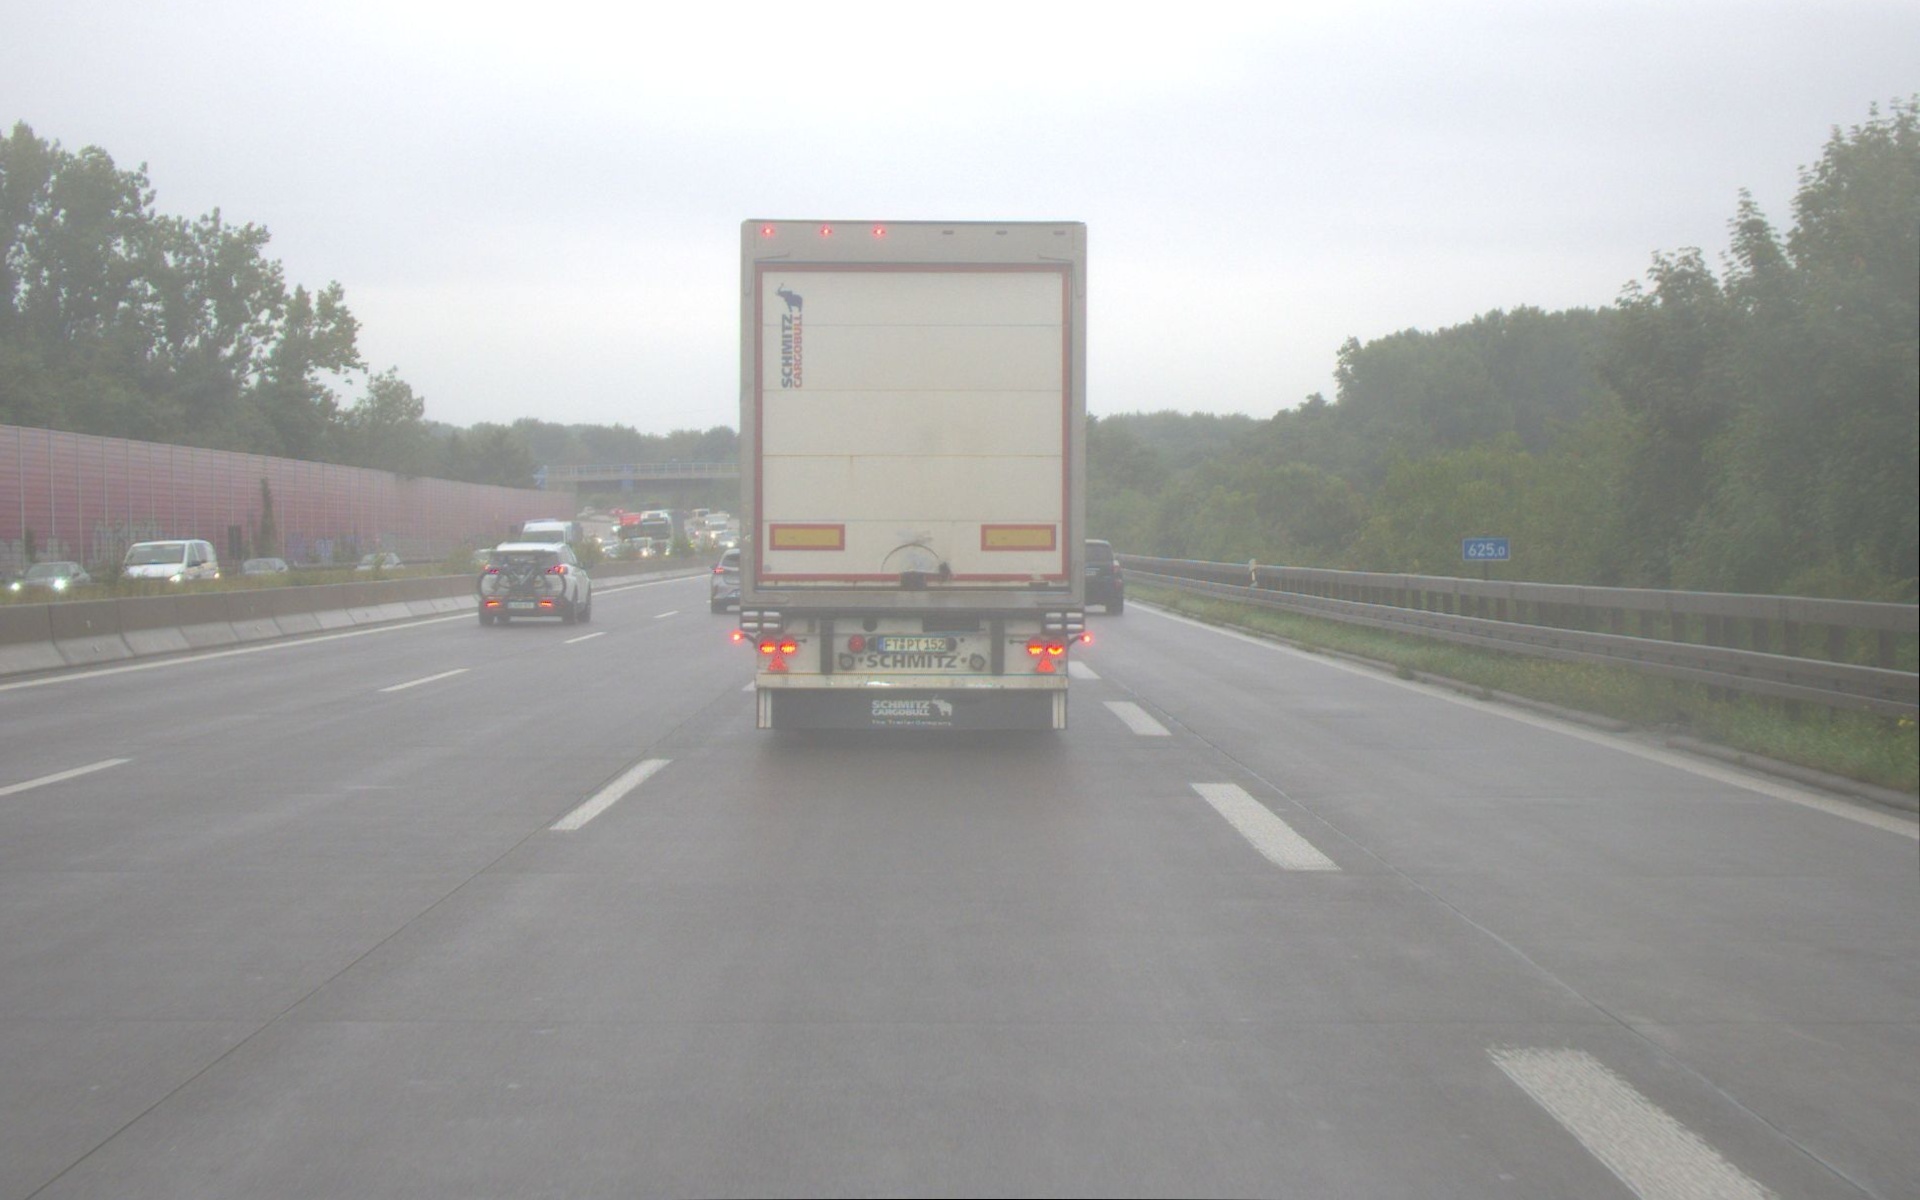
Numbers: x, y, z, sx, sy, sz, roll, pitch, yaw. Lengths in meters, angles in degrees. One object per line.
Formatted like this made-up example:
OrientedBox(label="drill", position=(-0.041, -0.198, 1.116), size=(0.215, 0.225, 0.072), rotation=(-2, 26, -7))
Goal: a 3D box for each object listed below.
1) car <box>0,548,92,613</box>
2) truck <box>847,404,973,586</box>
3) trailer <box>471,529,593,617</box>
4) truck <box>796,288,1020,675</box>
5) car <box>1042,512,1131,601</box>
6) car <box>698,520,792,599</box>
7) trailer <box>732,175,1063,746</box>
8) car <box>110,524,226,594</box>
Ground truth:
OrientedBox(label="car", position=(-28.774, -0.635, 107.999), size=(1.993, 2.007, 4.000), rotation=(0, 1, 0))
OrientedBox(label="truck", position=(-1.489, -3.127, 103.989), size=(3.533, 5.165, 9.893), rotation=(1, 1, -1))
OrientedBox(label="trailer", position=(-8.226, -0.549, 66.354), size=(1.815, 1.619, 4.568), rotation=(0, 1, 0))
OrientedBox(label="truck", position=(-0.589, -1.344, 40.334), size=(2.342, 4.143, 6.347), rotation=(1, 1, -1))
OrientedBox(label="car", position=(2.862, -1.006, 78.258), size=(1.897, 1.943, 4.000), rotation=(1, 1, 1))
OrientedBox(label="car", position=(-4.829, -0.932, 77.698), size=(1.894, 1.717, 4.000), rotation=(1, 1, 0))
OrientedBox(label="trailer", position=(-0.525, -1.171, 32.627), size=(2.342, 4.143, 14.828), rotation=(1, 1, -1))
OrientedBox(label="car", position=(-21.056, -1.106, 91.537), size=(1.993, 1.778, 5.210), rotation=(0, 1, -1))
